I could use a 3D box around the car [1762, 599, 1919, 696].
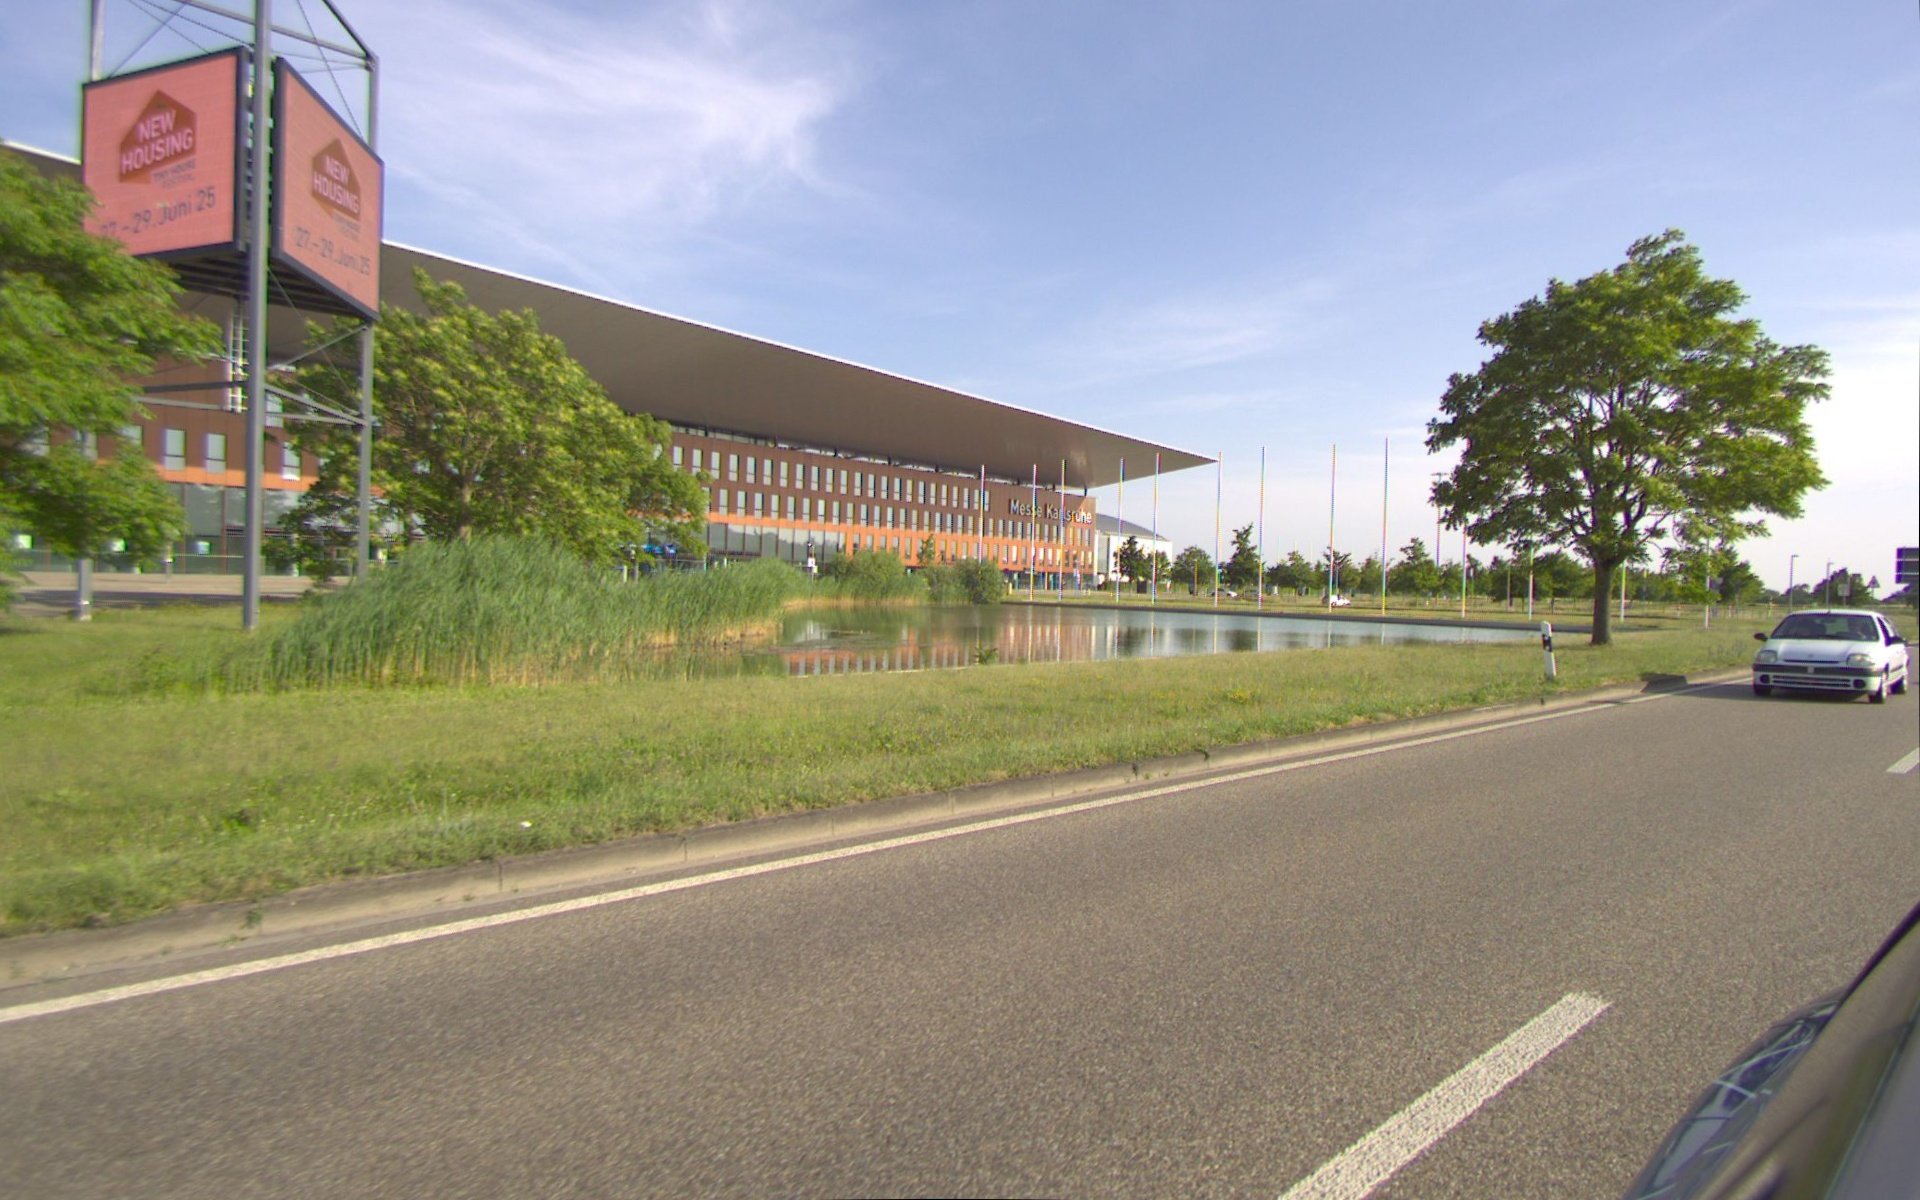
[{"bbox_3d":[14.462,0.702,16.471,3.391,1.396,1.577,0,0,-40],"label":"car"}]

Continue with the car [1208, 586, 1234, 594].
[{"bbox_3d":[45.626,-1.695,177.082,1.461,1.295,4.203,1,1,-43],"label":"car"}]

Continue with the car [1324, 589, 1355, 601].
[{"bbox_3d":[46.009,-0.599,122.723,3.492,1.473,1.714,1,0,-29],"label":"car"}]
